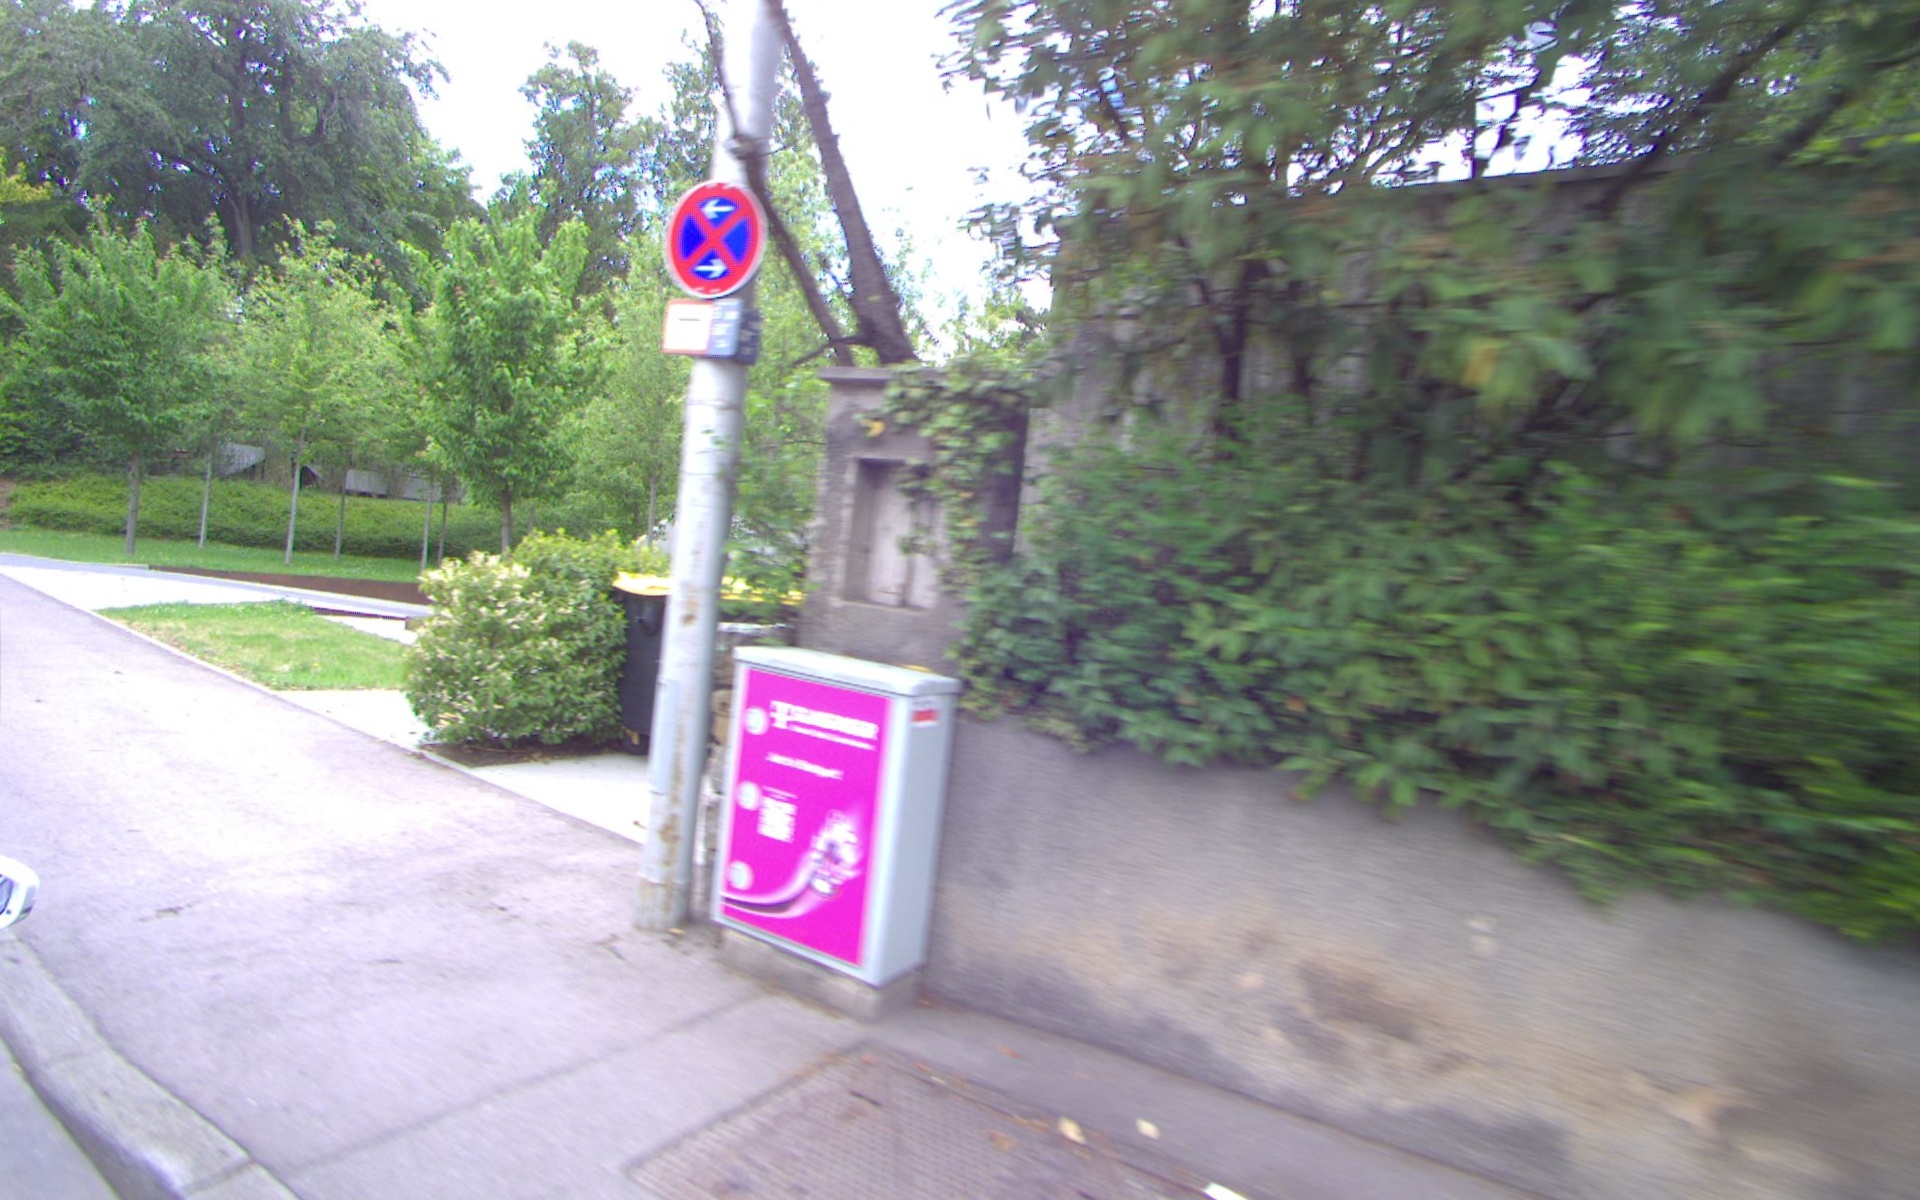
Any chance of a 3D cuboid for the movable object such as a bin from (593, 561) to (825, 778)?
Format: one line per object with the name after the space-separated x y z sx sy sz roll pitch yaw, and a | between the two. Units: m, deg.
-1.811 0.500 7.364 0.862 1.380 1.265 7 0 37 | movable object such as a bin
